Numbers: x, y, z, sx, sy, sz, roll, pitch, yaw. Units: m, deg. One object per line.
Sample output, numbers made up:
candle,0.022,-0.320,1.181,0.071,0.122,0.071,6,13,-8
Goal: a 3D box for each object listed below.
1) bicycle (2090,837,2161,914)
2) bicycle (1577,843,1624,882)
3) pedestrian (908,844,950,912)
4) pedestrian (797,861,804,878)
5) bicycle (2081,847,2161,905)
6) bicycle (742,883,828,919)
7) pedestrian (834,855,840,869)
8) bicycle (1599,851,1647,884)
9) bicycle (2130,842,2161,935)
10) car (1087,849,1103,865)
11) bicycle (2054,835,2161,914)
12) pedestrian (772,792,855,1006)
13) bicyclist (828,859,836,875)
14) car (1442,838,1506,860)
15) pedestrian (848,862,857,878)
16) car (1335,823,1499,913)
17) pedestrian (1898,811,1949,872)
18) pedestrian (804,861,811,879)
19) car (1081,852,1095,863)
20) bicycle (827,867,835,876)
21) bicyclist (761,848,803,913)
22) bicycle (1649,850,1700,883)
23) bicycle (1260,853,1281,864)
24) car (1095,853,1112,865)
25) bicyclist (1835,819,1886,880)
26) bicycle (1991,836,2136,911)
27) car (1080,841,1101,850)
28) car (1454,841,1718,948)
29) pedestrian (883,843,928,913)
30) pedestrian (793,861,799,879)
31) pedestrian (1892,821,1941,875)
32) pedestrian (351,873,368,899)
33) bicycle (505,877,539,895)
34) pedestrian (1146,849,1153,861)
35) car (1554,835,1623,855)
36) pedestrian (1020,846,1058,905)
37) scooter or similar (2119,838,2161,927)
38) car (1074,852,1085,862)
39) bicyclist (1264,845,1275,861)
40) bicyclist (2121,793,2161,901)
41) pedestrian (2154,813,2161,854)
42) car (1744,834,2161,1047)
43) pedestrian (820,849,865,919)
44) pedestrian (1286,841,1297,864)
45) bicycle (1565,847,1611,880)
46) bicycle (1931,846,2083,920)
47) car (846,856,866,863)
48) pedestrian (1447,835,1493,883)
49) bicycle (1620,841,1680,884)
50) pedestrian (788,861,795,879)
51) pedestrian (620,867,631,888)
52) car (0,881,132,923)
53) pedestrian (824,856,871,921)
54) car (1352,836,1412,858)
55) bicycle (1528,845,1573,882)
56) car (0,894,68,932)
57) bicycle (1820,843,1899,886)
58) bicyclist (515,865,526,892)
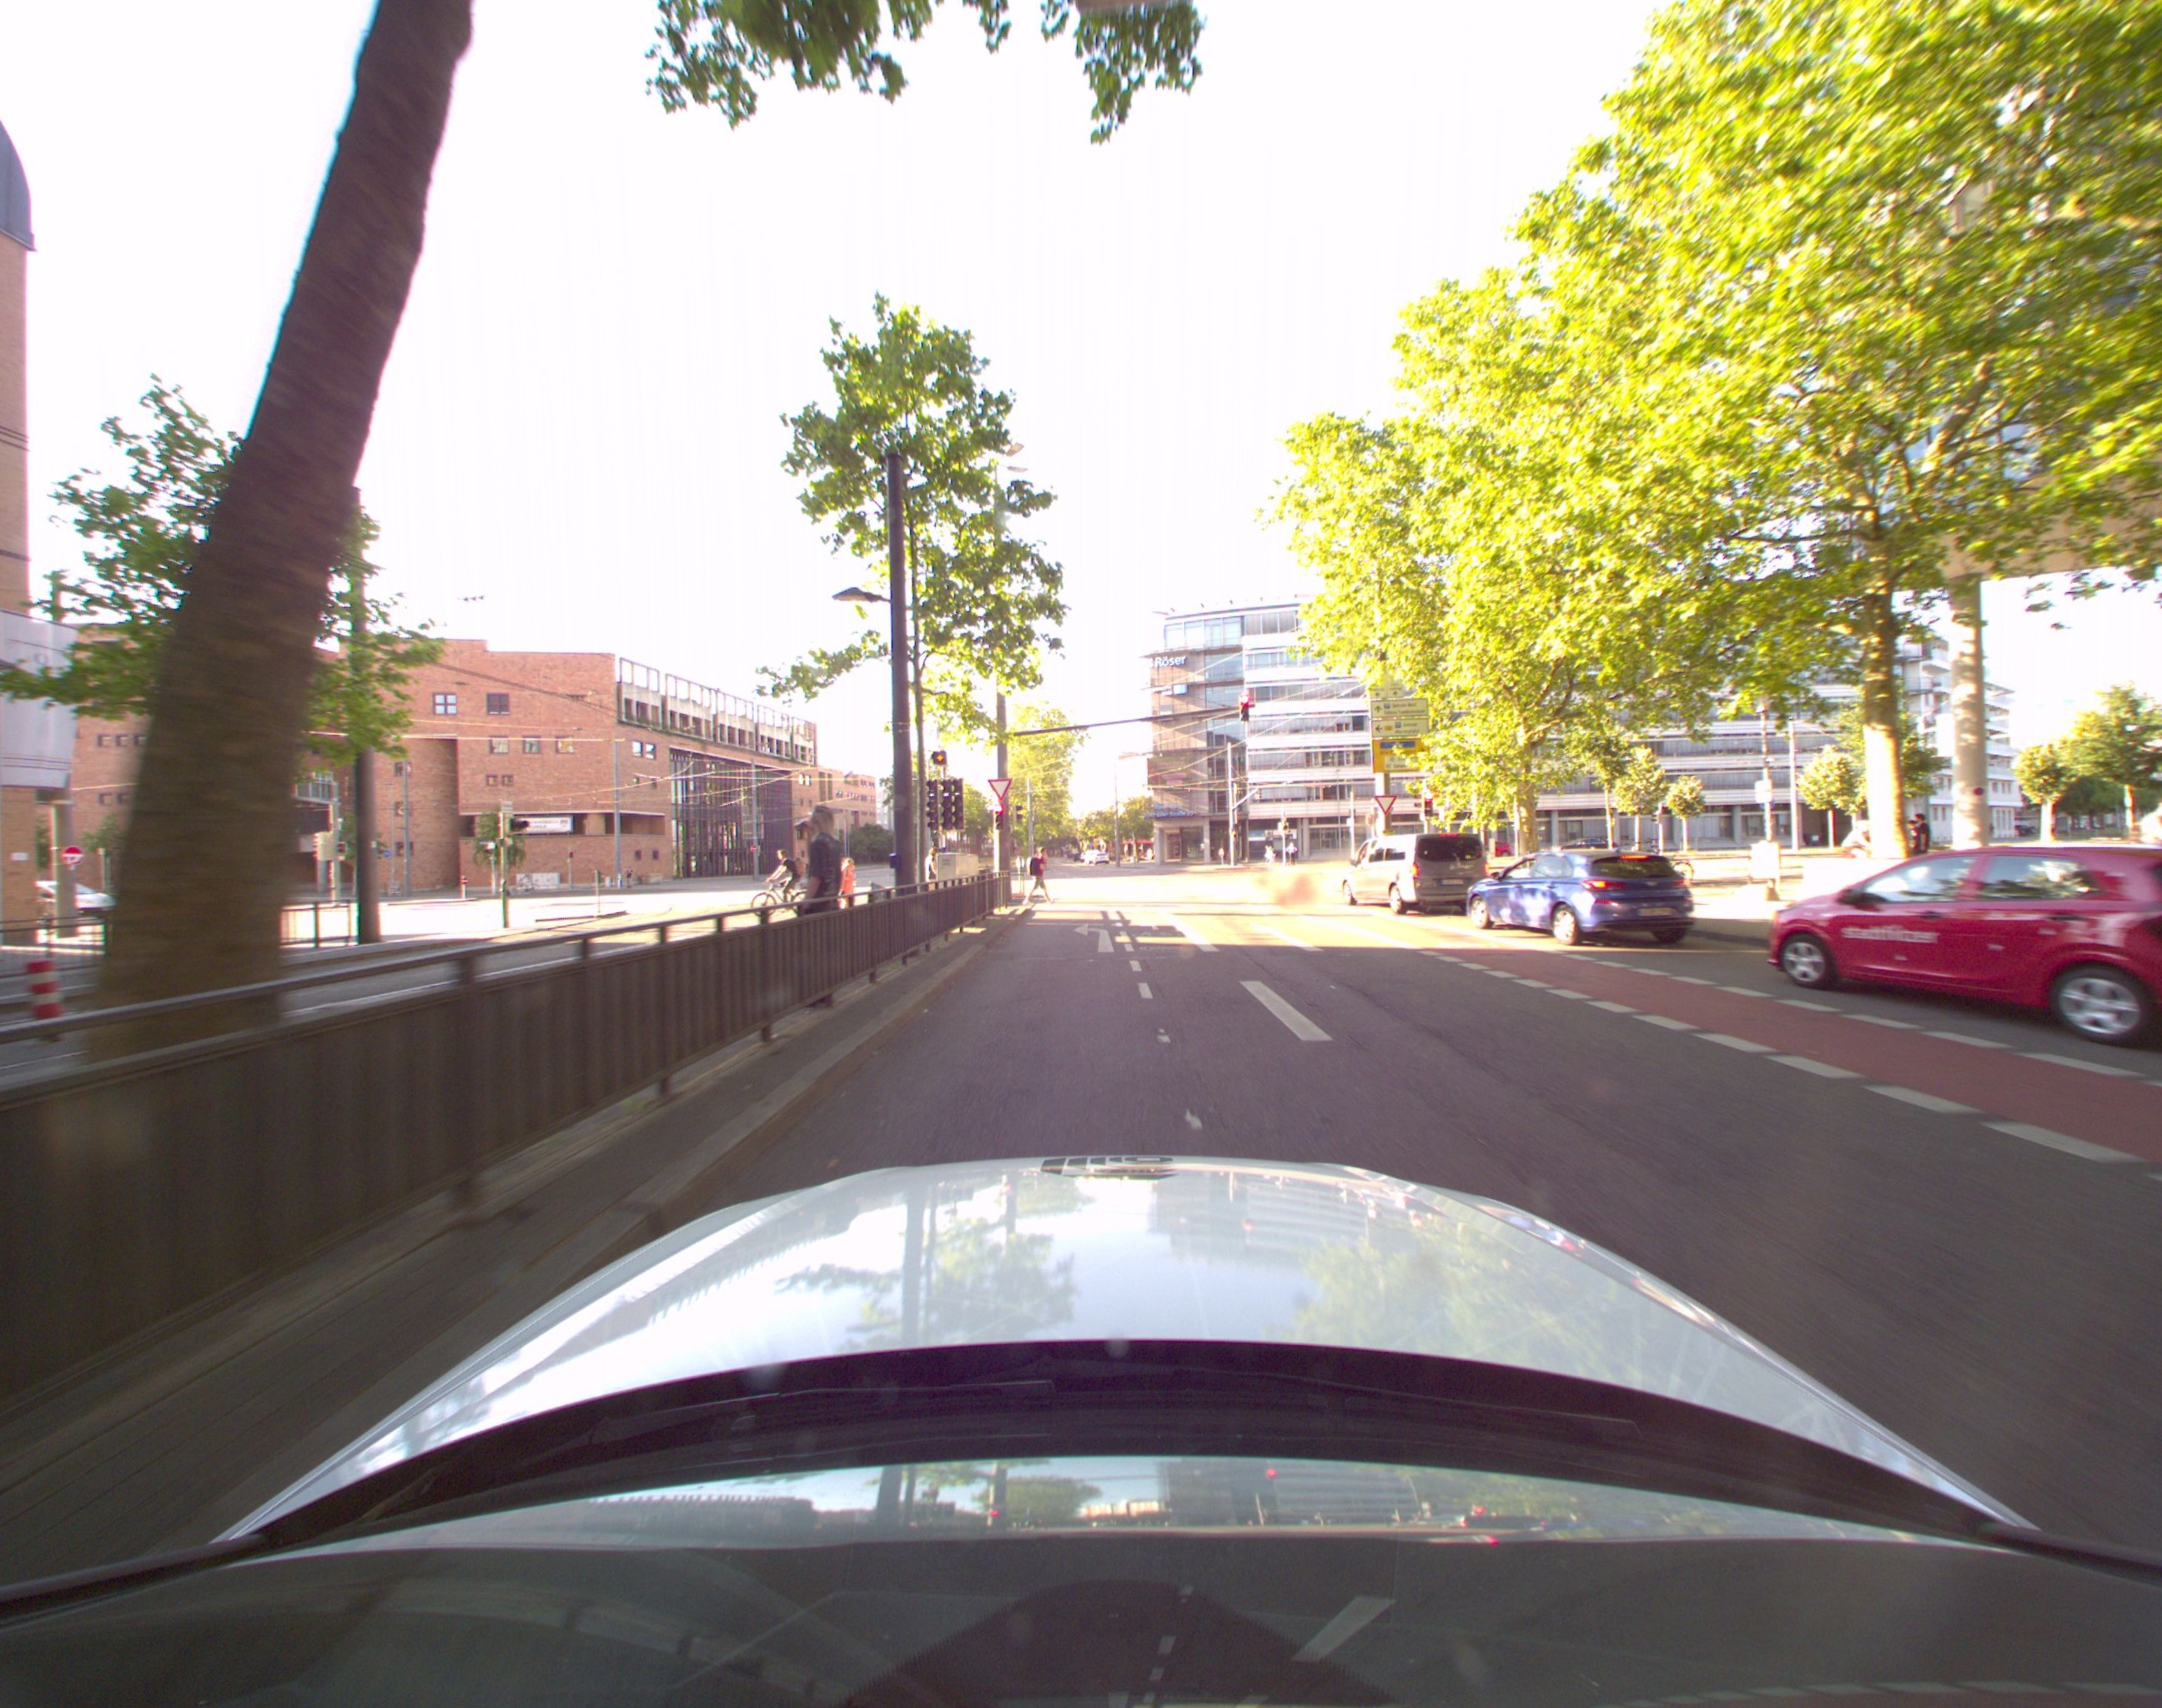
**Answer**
bicycle,16.713,0.325,12.576,0.419,1.159,1.477,-2,0,1
bicycle,16.083,0.247,25.224,0.449,1.144,1.475,-2,0,-2
pedestrian,-4.112,0.641,22.106,1.071,1.806,0.756,-1,-1,-8
pedestrian,-26.415,1.453,76.623,0.538,1.650,0.621,-2,0,-19
bicycle,18.120,0.358,13.349,0.664,0.933,2.181,-2,0,-4
bicycle,-8.406,1.325,23.178,2.172,0.933,0.667,-2,0,-3
pedestrian,-32.975,1.103,110.199,0.519,1.779,0.546,-2,0,7
bicycle,16.814,0.399,25.317,0.449,0.982,1.475,-2,0,-2
bicycle,13.249,0.427,9.443,0.590,1.116,1.837,-2,0,27
car,1.822,0.443,108.056,1.987,1.991,3.999,-2,0,0
bicycle,16.116,0.300,12.546,0.419,1.159,1.475,-2,0,-2
pedestrian,-2.482,0.398,7.623,0.508,1.900,0.760,0,-1,1
bicyclist,-25.679,1.329,84.059,0.592,1.675,0.788,-2,0,-6
car,31.378,-0.404,65.137,4.220,1.560,1.798,-2,0,5
pedestrian,-22.503,1.588,80.136,0.754,1.530,0.507,-1,0,-8
car,8.145,0.296,20.373,1.987,1.966,5.137,0,0,0
pedestrian,25.814,-0.376,24.958,0.850,1.820,0.860,0,0,-28
pedestrian,-25.762,1.468,76.778,0.538,1.650,0.621,-2,0,-19
car,1.028,0.493,123.668,1.987,1.662,3.999,-2,0,0
bicycle,-25.767,1.843,83.997,0.512,0.881,1.834,-2,0,-8
bicyclist,-8.499,0.753,23.180,0.847,1.785,0.752,-2,0,-3
bicycle,18.384,0.379,25.272,0.449,0.982,1.475,-2,0,-2
bicycle,16.679,0.418,71.569,1.733,0.899,0.409,-2,0,5
car,2.814,0.592,101.399,1.987,1.332,3.999,-2,0,0
bicyclist,21.098,-0.120,22.056,0.559,1.616,0.823,-2,0,6
bicycle,15.231,0.286,12.681,0.419,1.081,1.475,-2,0,-2
car,1.835,-1.684,158.583,3.734,1.750,1.788,0,-1,14
car,8.199,0.574,13.760,1.760,1.464,4.215,-2,0,-1
pedestrian,-4.908,0.655,22.845,1.144,1.893,0.831,-1,-1,-8
pedestrian,-27.108,1.519,77.482,0.538,1.650,0.621,-2,0,-19
pedestrian,26.779,-0.192,26.118,0.850,1.681,0.860,0,0,-26
pedestrian,-46.968,2.080,53.033,0.542,1.613,0.613,0,1,-5
bicycle,-43.333,2.479,63.151,0.447,1.239,2.109,-3,0,45
pedestrian,8.431,0.084,100.028,0.737,1.465,0.536,-2,0,-2
car,40.095,-0.694,64.406,4.218,1.392,1.799,-2,0,7
pedestrian,-1.246,0.626,24.154,1.071,1.715,0.627,-1,-1,-4
scooter or similar,14.506,0.381,10.514,1.255,1.142,0.912,1,-2,-14
car,-0.265,0.459,145.257,1.987,1.662,3.999,-2,0,0
bicyclist,16.546,-0.049,71.581,0.815,1.366,0.401,-2,0,5
bicyclist,18.089,-0.125,13.425,0.749,1.767,0.851,-2,0,-4
pedestrian,38.538,-0.747,28.584,0.702,1.442,0.776,-2,0,2
car,8.212,0.584,7.313,1.554,1.464,3.620,-1,0,0
pedestrian,-6.574,0.817,22.479,1.072,1.871,0.737,-1,-1,-8
pedestrian,15.862,-0.128,61.381,0.716,1.681,0.558,-1,0,7
bicycle,15.576,0.274,25.060,0.419,0.979,1.475,-2,0,-2
bicycle,14.212,0.414,12.567,0.624,1.057,1.575,-2,0,6
car,-50.466,1.304,182.654,4.013,1.552,1.591,0,-1,-32
pedestrian,15.058,0.183,31.551,1.207,1.822,1.040,0,-1,-6
bicycle,17.629,0.252,25.273,0.449,1.286,1.886,-2,0,-2
pedestrian,-26.946,1.458,75.703,0.538,1.650,0.621,-2,0,-19
pedestrian,-36.978,1.910,66.104,0.538,1.613,0.575,-2,0,31
car,-47.673,2.227,37.860,4.343,1.696,1.995,-2,0,-8
pedestrian,-6.208,0.915,21.702,1.071,1.682,0.756,-1,-1,-8
car,24.341,-0.591,65.986,4.221,1.602,1.798,-2,0,4
bicycle,14.568,0.285,25.309,0.487,1.093,1.475,-2,0,-2
car,-46.508,2.553,34.689,3.946,1.456,1.997,-2,0,-4
bicycle,21.122,0.270,22.149,0.563,1.126,1.782,-2,0,6
bicyclist,-43.419,1.888,63.089,0.566,2.060,0.446,-2,-1,-45
